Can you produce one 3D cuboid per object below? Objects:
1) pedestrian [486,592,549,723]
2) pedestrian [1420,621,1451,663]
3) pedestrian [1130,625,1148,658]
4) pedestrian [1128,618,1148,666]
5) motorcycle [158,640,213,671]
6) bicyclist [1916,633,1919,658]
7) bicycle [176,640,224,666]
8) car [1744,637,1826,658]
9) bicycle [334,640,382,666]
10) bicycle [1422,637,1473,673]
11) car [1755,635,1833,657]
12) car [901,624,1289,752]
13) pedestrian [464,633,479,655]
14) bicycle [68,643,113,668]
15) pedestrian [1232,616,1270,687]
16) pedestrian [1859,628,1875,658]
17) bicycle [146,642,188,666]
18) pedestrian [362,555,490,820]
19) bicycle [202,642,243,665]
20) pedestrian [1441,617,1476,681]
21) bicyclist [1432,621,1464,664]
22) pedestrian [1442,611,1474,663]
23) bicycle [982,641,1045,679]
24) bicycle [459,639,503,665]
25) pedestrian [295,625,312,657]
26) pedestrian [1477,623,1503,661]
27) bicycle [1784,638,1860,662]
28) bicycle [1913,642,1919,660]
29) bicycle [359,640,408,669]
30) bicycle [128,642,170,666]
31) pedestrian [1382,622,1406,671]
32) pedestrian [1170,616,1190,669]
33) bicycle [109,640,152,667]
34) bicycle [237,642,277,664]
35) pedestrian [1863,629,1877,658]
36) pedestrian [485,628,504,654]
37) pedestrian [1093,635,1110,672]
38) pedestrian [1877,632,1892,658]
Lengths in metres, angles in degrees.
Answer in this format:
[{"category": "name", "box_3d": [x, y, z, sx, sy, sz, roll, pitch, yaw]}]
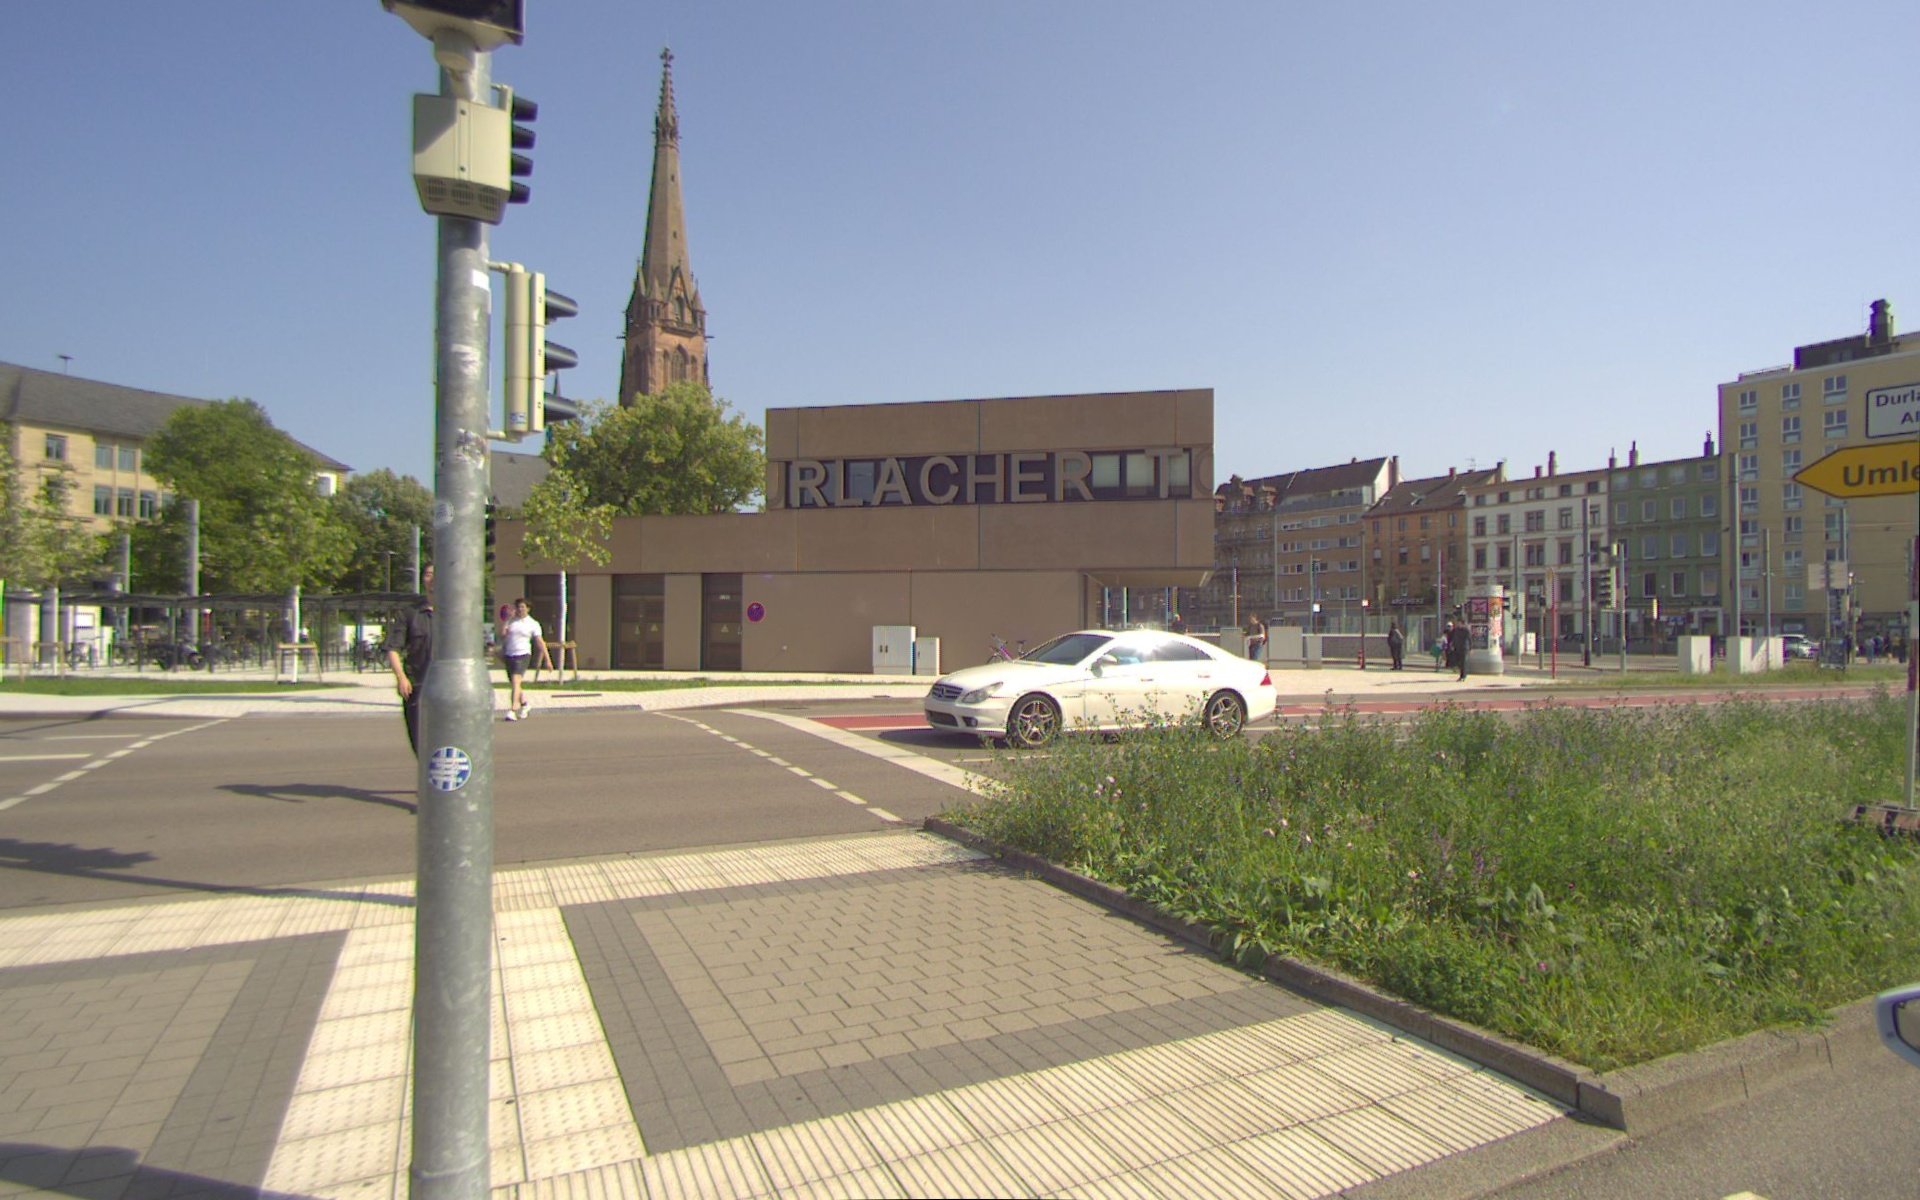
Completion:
[{"category": "pedestrian", "box_3d": [-6.475, 0.830, 14.701, 0.684, 1.857, 0.568, -1, -2, 36]}, {"category": "pedestrian", "box_3d": [23.604, 2.075, 49.867, 1.010, 2.040, 0.953, -2, 0, -31]}, {"category": "pedestrian", "box_3d": [8.836, 2.064, 49.582, 0.782, 1.612, 0.692, 0, -1, -1]}, {"category": "pedestrian", "box_3d": [6.474, 1.525, 36.609, 0.595, 1.718, 0.533, -2, 0, 3]}, {"category": "motorcycle", "box_3d": [-26.597, 1.901, 34.486, 1.710, 1.022, 0.543, 0, -2, 14]}, {"category": "bicyclist", "box_3d": [54.773, 2.581, 56.931, 0.683, 1.453, 0.721, 1, -2, -35]}, {"category": "bicycle", "box_3d": [-29.308, 2.034, 38.743, 1.679, 1.000, 0.534, 0, -2, 14]}, {"category": "car", "box_3d": [53.322, 3.063, 64.986, 1.556, 1.195, 3.815, 4, -3, -27]}, {"category": "bicycle", "box_3d": [-24.098, 2.107, 40.202, 1.837, 1.022, 0.462, 0, -2, 14]}, {"category": "bicycle", "box_3d": [16.263, 1.810, 33.481, 1.827, 1.078, 0.560, -2, 1, -27]}, {"category": "car", "box_3d": [55.721, 3.034, 67.152, 1.568, 1.411, 3.719, 1, -2, -30]}, {"category": "car", "box_3d": [1.784, 1.072, 13.017, 4.754, 1.379, 1.836, 2, -1, -25]}, {"category": "pedestrian", "box_3d": [-26.687, 2.390, 54.857, 0.562, 1.213, 0.468, 0, -2, 15]}, {"category": "bicycle", "box_3d": [-31.917, 2.033, 36.868, 1.556, 0.904, 0.401, 0, -1, 14]}, {"category": "pedestrian", "box_3d": [7.482, 1.309, 25.812, 0.668, 1.783, 0.875, -1, -2, 38]}, {"category": "pedestrian", "box_3d": [52.970, 2.489, 58.637, 0.539, 1.707, 0.454, -2, 0, -19]}, {"category": "bicycle", "box_3d": [-30.989, 2.103, 39.230, 1.556, 0.904, 0.410, 0, -2, 14]}, {"category": "pedestrian", "box_3d": [-4.058, 0.624, 7.710, 0.719, 1.864, 1.077, 1, -1, -22]}, {"category": "bicycle", "box_3d": [-29.047, 2.103, 39.563, 1.556, 0.904, 0.410, 0, -2, 14]}, {"category": "pedestrian", "box_3d": [14.485, 1.418, 29.218, 0.832, 1.802, 0.876, -2, 0, 25]}, {"category": "bicyclist", "box_3d": [16.254, 1.408, 33.470, 0.872, 1.380, 0.560, -2, 1, -28]}, {"category": "pedestrian", "box_3d": [18.250, 1.346, 36.830, 0.867, 1.843, 0.892, -2, 0, 37]}, {"category": "bicycle", "box_3d": [1.439, 1.591, 26.780, 1.580, 0.968, 0.661, 0, 0, 12]}, {"category": "bicycle", "box_3d": [-19.369, 2.096, 40.606, 1.710, 1.022, 0.401, 0, -2, 14]}, {"category": "pedestrian", "box_3d": [-37.163, 2.331, 56.832, 0.712, 1.771, 0.384, 2, -2, -44]}, {"category": "pedestrian", "box_3d": [26.466, 2.114, 50.193, 0.770, 1.843, 0.829, 3, -2, -31]}, {"category": "bicycle", "box_3d": [62.019, 3.569, 72.302, 1.182, 1.572, 3.965, -2, 0, -32]}, {"category": "bicycle", "box_3d": [54.695, 2.907, 56.873, 1.715, 0.997, 0.722, 2, -2, -36]}, {"category": "bicycle", "box_3d": [-20.362, 1.929, 35.480, 1.710, 1.022, 0.401, 0, -2, 14]}, {"category": "bicycle", "box_3d": [-31.273, 2.084, 38.718, 1.556, 0.904, 0.401, 0, -2, 14]}, {"category": "pedestrian", "box_3d": [14.562, 1.563, 33.691, 0.499, 1.601, 0.497, -2, 0, -16]}, {"category": "pedestrian", "box_3d": [7.867, 1.521, 35.959, 0.547, 1.843, 0.392, -2, 0, -5]}, {"category": "bicycle", "box_3d": [-31.409, 2.019, 38.031, 1.556, 0.980, 0.422, 0, -2, 14]}, {"category": "bicycle", "box_3d": [-28.703, 2.158, 41.012, 1.556, 0.904, 0.410, 0, -2, 14]}, {"category": "pedestrian", "box_3d": [53.589, 2.548, 59.134, 0.447, 1.707, 0.440, -2, 0, 21]}, {"category": "pedestrian", "box_3d": [-25.193, 2.210, 54.391, 0.631, 1.413, 0.662, 0, -2, 11]}, {"category": "pedestrian", "box_3d": [4.658, 1.757, 33.055, 0.513, 1.187, 0.596, 0, -2, 11]}, {"category": "pedestrian", "box_3d": [54.247, 2.633, 58.918, 0.489, 1.507, 0.440, -2, 0, 21]}]
